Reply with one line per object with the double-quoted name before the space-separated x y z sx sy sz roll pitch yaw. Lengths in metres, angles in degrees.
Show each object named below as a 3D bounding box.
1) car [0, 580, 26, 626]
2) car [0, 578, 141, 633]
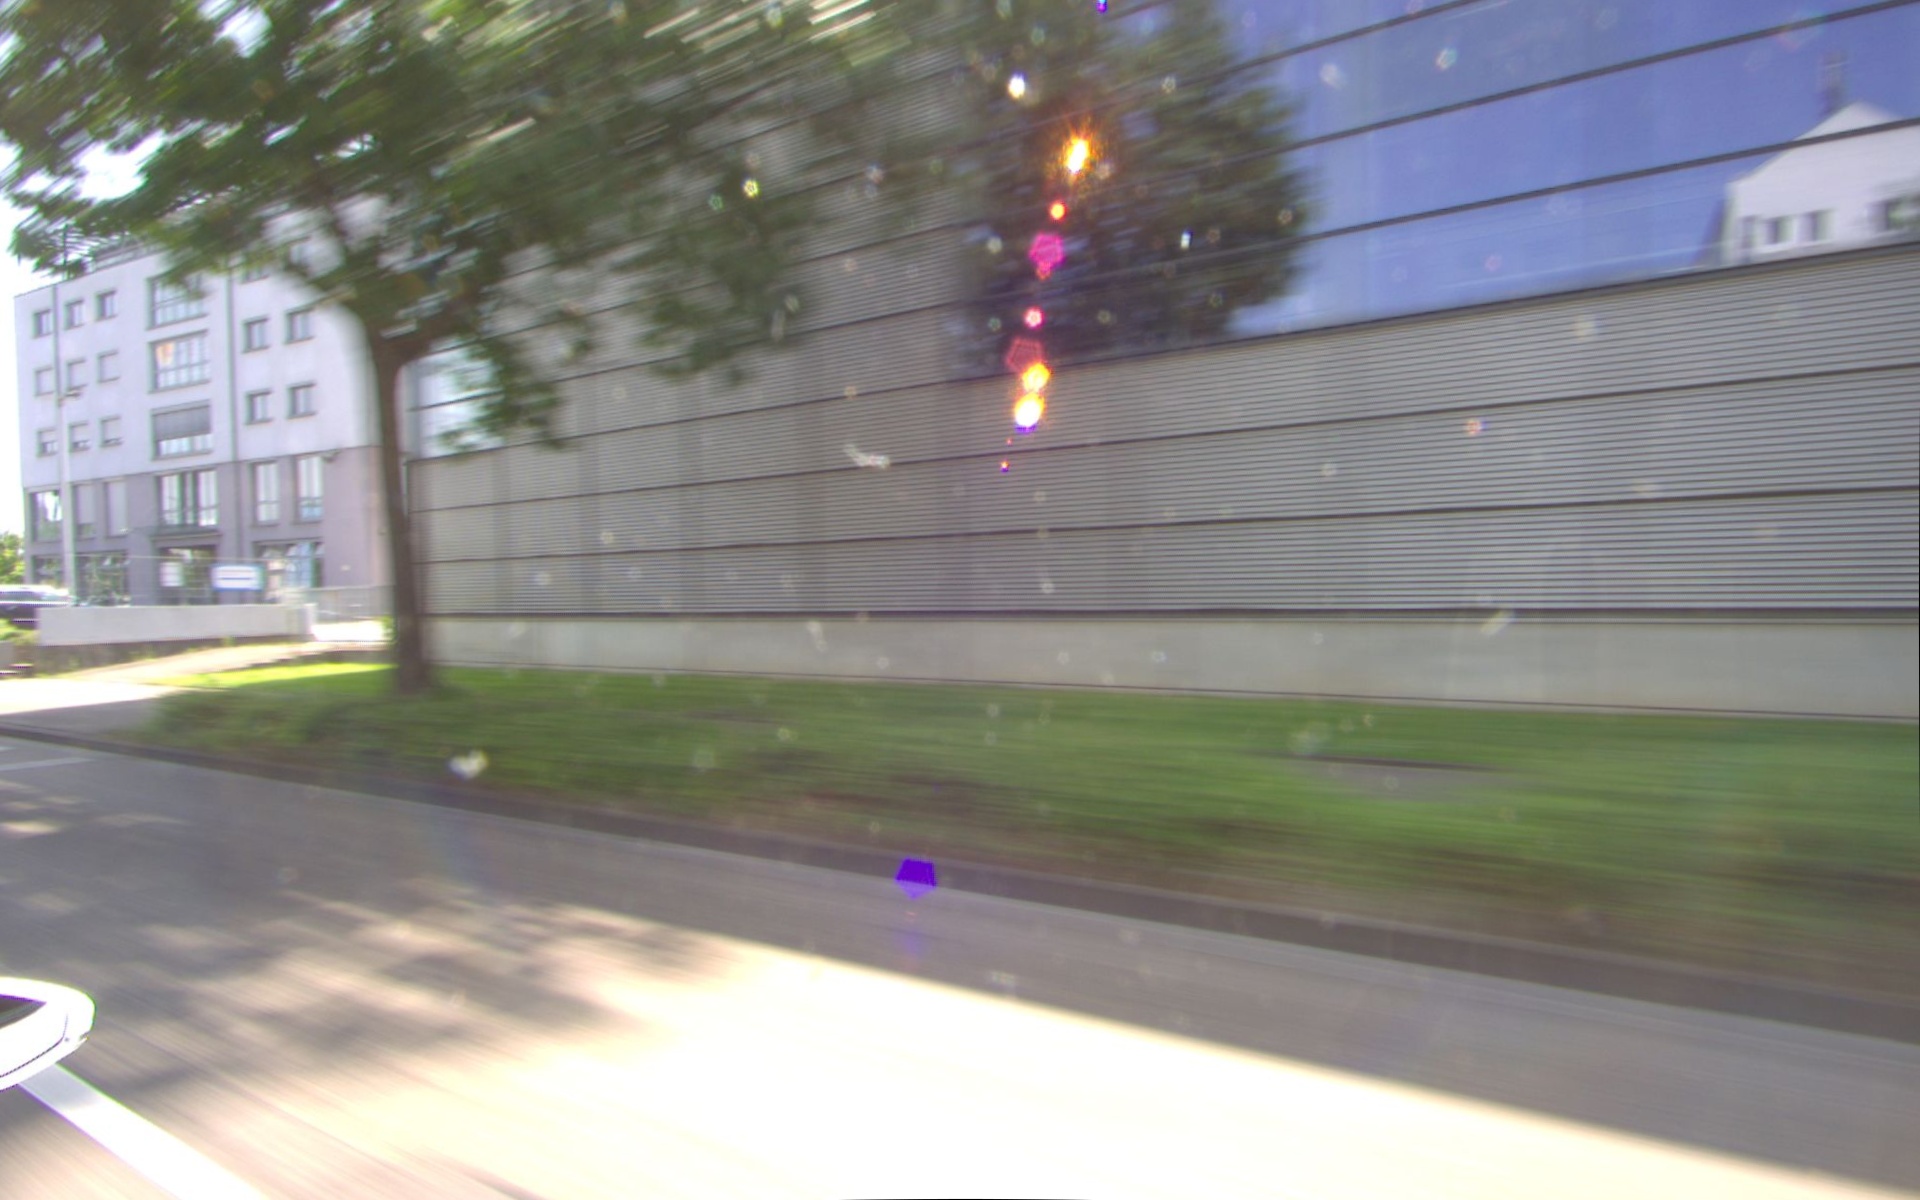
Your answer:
"car" -36.220 0.166 35.420 1.971 1.669 4.218 -1 1 31
"car" -28.709 0.172 31.197 1.971 1.604 4.489 -1 1 31
